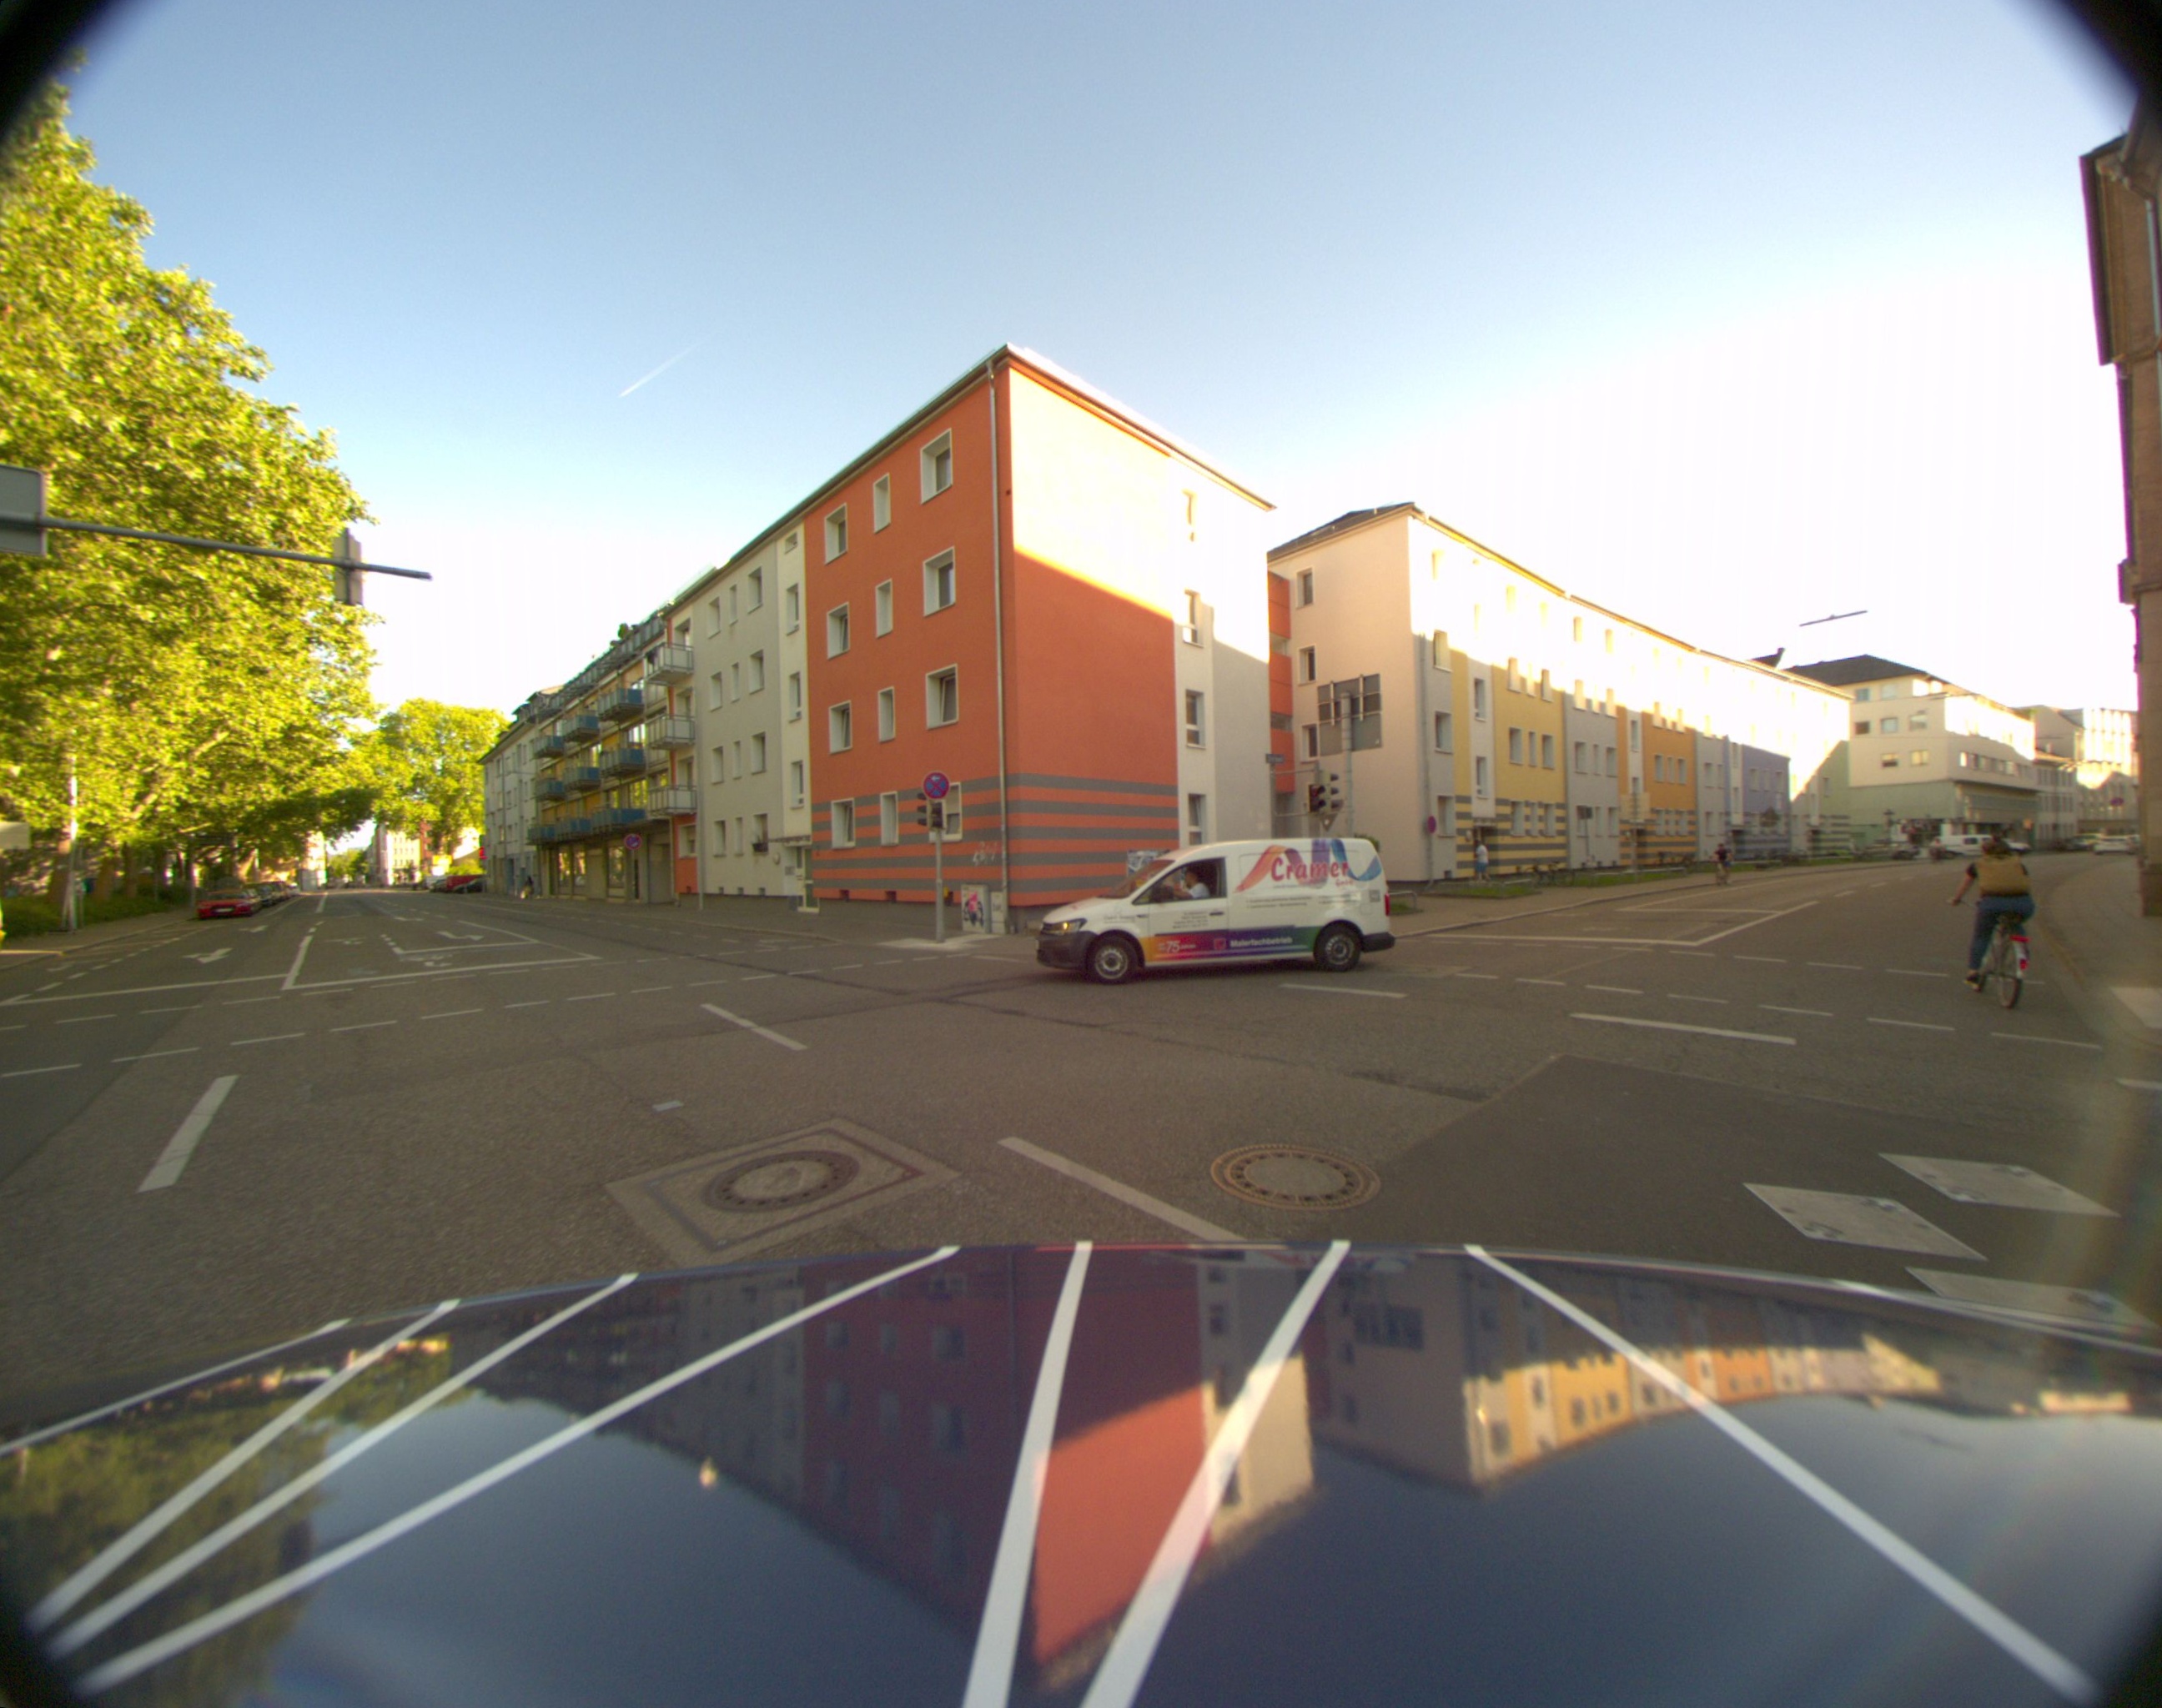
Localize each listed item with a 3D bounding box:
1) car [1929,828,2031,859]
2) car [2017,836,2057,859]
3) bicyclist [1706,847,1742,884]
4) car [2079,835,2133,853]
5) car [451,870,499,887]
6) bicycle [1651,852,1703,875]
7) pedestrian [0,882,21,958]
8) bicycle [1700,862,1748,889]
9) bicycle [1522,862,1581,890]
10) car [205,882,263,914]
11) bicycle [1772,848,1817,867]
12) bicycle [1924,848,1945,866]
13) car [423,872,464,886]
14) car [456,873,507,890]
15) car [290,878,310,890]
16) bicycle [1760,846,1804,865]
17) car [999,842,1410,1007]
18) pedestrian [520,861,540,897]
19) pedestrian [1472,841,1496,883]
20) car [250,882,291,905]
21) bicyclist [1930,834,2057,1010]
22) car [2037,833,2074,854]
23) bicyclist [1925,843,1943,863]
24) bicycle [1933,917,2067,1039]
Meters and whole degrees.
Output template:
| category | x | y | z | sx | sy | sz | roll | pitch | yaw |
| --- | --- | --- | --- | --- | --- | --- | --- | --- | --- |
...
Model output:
| category | x | y | z | sx | sy | sz | roll | pitch | yaw |
| --- | --- | --- | --- | --- | --- | --- | --- | --- | --- |
| car | 67.532 | -0.771 | 57.198 | 4.695 | 2.001 | 2.004 | -5 | -2 | 45 |
| car | 90.135 | -0.633 | 71.608 | 4.007 | 2.002 | 1.995 | -2 | 0 | -34 |
| bicyclist | 24.346 | 0.442 | 28.769 | 0.840 | 1.364 | 0.790 | 1 | -3 | -32 |
| car | 81.121 | -0.800 | 60.131 | 4.714 | 1.332 | 2.102 | -2 | 0 | -31 |
| car | -66.402 | 2.649 | 83.272 | 4.008 | 1.689 | 1.828 | -1 | 0 | -43 |
| bicycle | 28.736 | 0.479 | 36.646 | 0.712 | 1.063 | 1.870 | -3 | 1 | -45 |
| pedestrian | -26.152 | 1.606 | 18.230 | 0.664 | 1.787 | 0.672 | 0 | 4 | 39 |
| bicycle | 24.322 | 0.827 | 28.735 | 1.996 | 0.992 | 0.788 | 1 | -3 | -32 |
| bicycle | 17.325 | 0.819 | 28.006 | 1.754 | 0.987 | 0.541 | -1 | 1 | 42 |
| car | -44.270 | 2.265 | 39.792 | 4.644 | 1.520 | 1.791 | -2 | 0 | 44 |
| bicycle | 42.673 | 0.198 | 45.472 | 1.870 | 1.063 | 0.712 | -1 | 1 | 37 |
| bicycle | 54.803 | 0.188 | 48.795 | 1.800 | 1.104 | 0.676 | -1 | 0 | -35 |
| car | -84.533 | 3.330 | 100.759 | 4.008 | 1.689 | 1.828 | -1 | 0 | -43 |
| car | -62.694 | 2.860 | 79.452 | 4.008 | 1.689 | 1.828 | -1 | 0 | -43 |
| car | -105.440 | 4.009 | 102.625 | 1.791 | 1.520 | 4.644 | -2 | 0 | -45 |
| bicycle | 41.081 | 0.074 | 44.536 | 0.712 | 1.063 | 1.870 | -3 | 1 | -45 |
| car | 1.575 | 0.812 | 10.373 | 5.126 | 1.806 | 1.998 | -2 | 1 | -12 |
| pedestrian | -36.920 | 1.658 | 50.911 | 1.085 | 2.382 | 0.916 | -1 | 0 | 45 |
| pedestrian | 14.094 | 0.277 | 26.589 | 0.560 | 1.452 | 0.599 | -1 | 0 | 9 |
| car | -58.061 | 2.805 | 54.466 | 1.791 | 1.520 | 4.644 | -2 | 0 | -45 |
| bicyclist | 9.103 | 0.637 | 7.615 | 0.644 | 1.636 | 0.856 | -1 | 0 | 39 |
| car | 100.315 | -1.078 | 78.210 | 4.007 | 2.002 | 1.995 | -2 | 0 | -34 |
| bicyclist | 54.772 | -0.073 | 48.768 | 0.823 | 1.252 | 0.676 | -2 | 0 | -35 |
| bicycle | 9.094 | 1.171 | 7.582 | 0.494 | 0.919 | 1.825 | -1 | 0 | 39 |
